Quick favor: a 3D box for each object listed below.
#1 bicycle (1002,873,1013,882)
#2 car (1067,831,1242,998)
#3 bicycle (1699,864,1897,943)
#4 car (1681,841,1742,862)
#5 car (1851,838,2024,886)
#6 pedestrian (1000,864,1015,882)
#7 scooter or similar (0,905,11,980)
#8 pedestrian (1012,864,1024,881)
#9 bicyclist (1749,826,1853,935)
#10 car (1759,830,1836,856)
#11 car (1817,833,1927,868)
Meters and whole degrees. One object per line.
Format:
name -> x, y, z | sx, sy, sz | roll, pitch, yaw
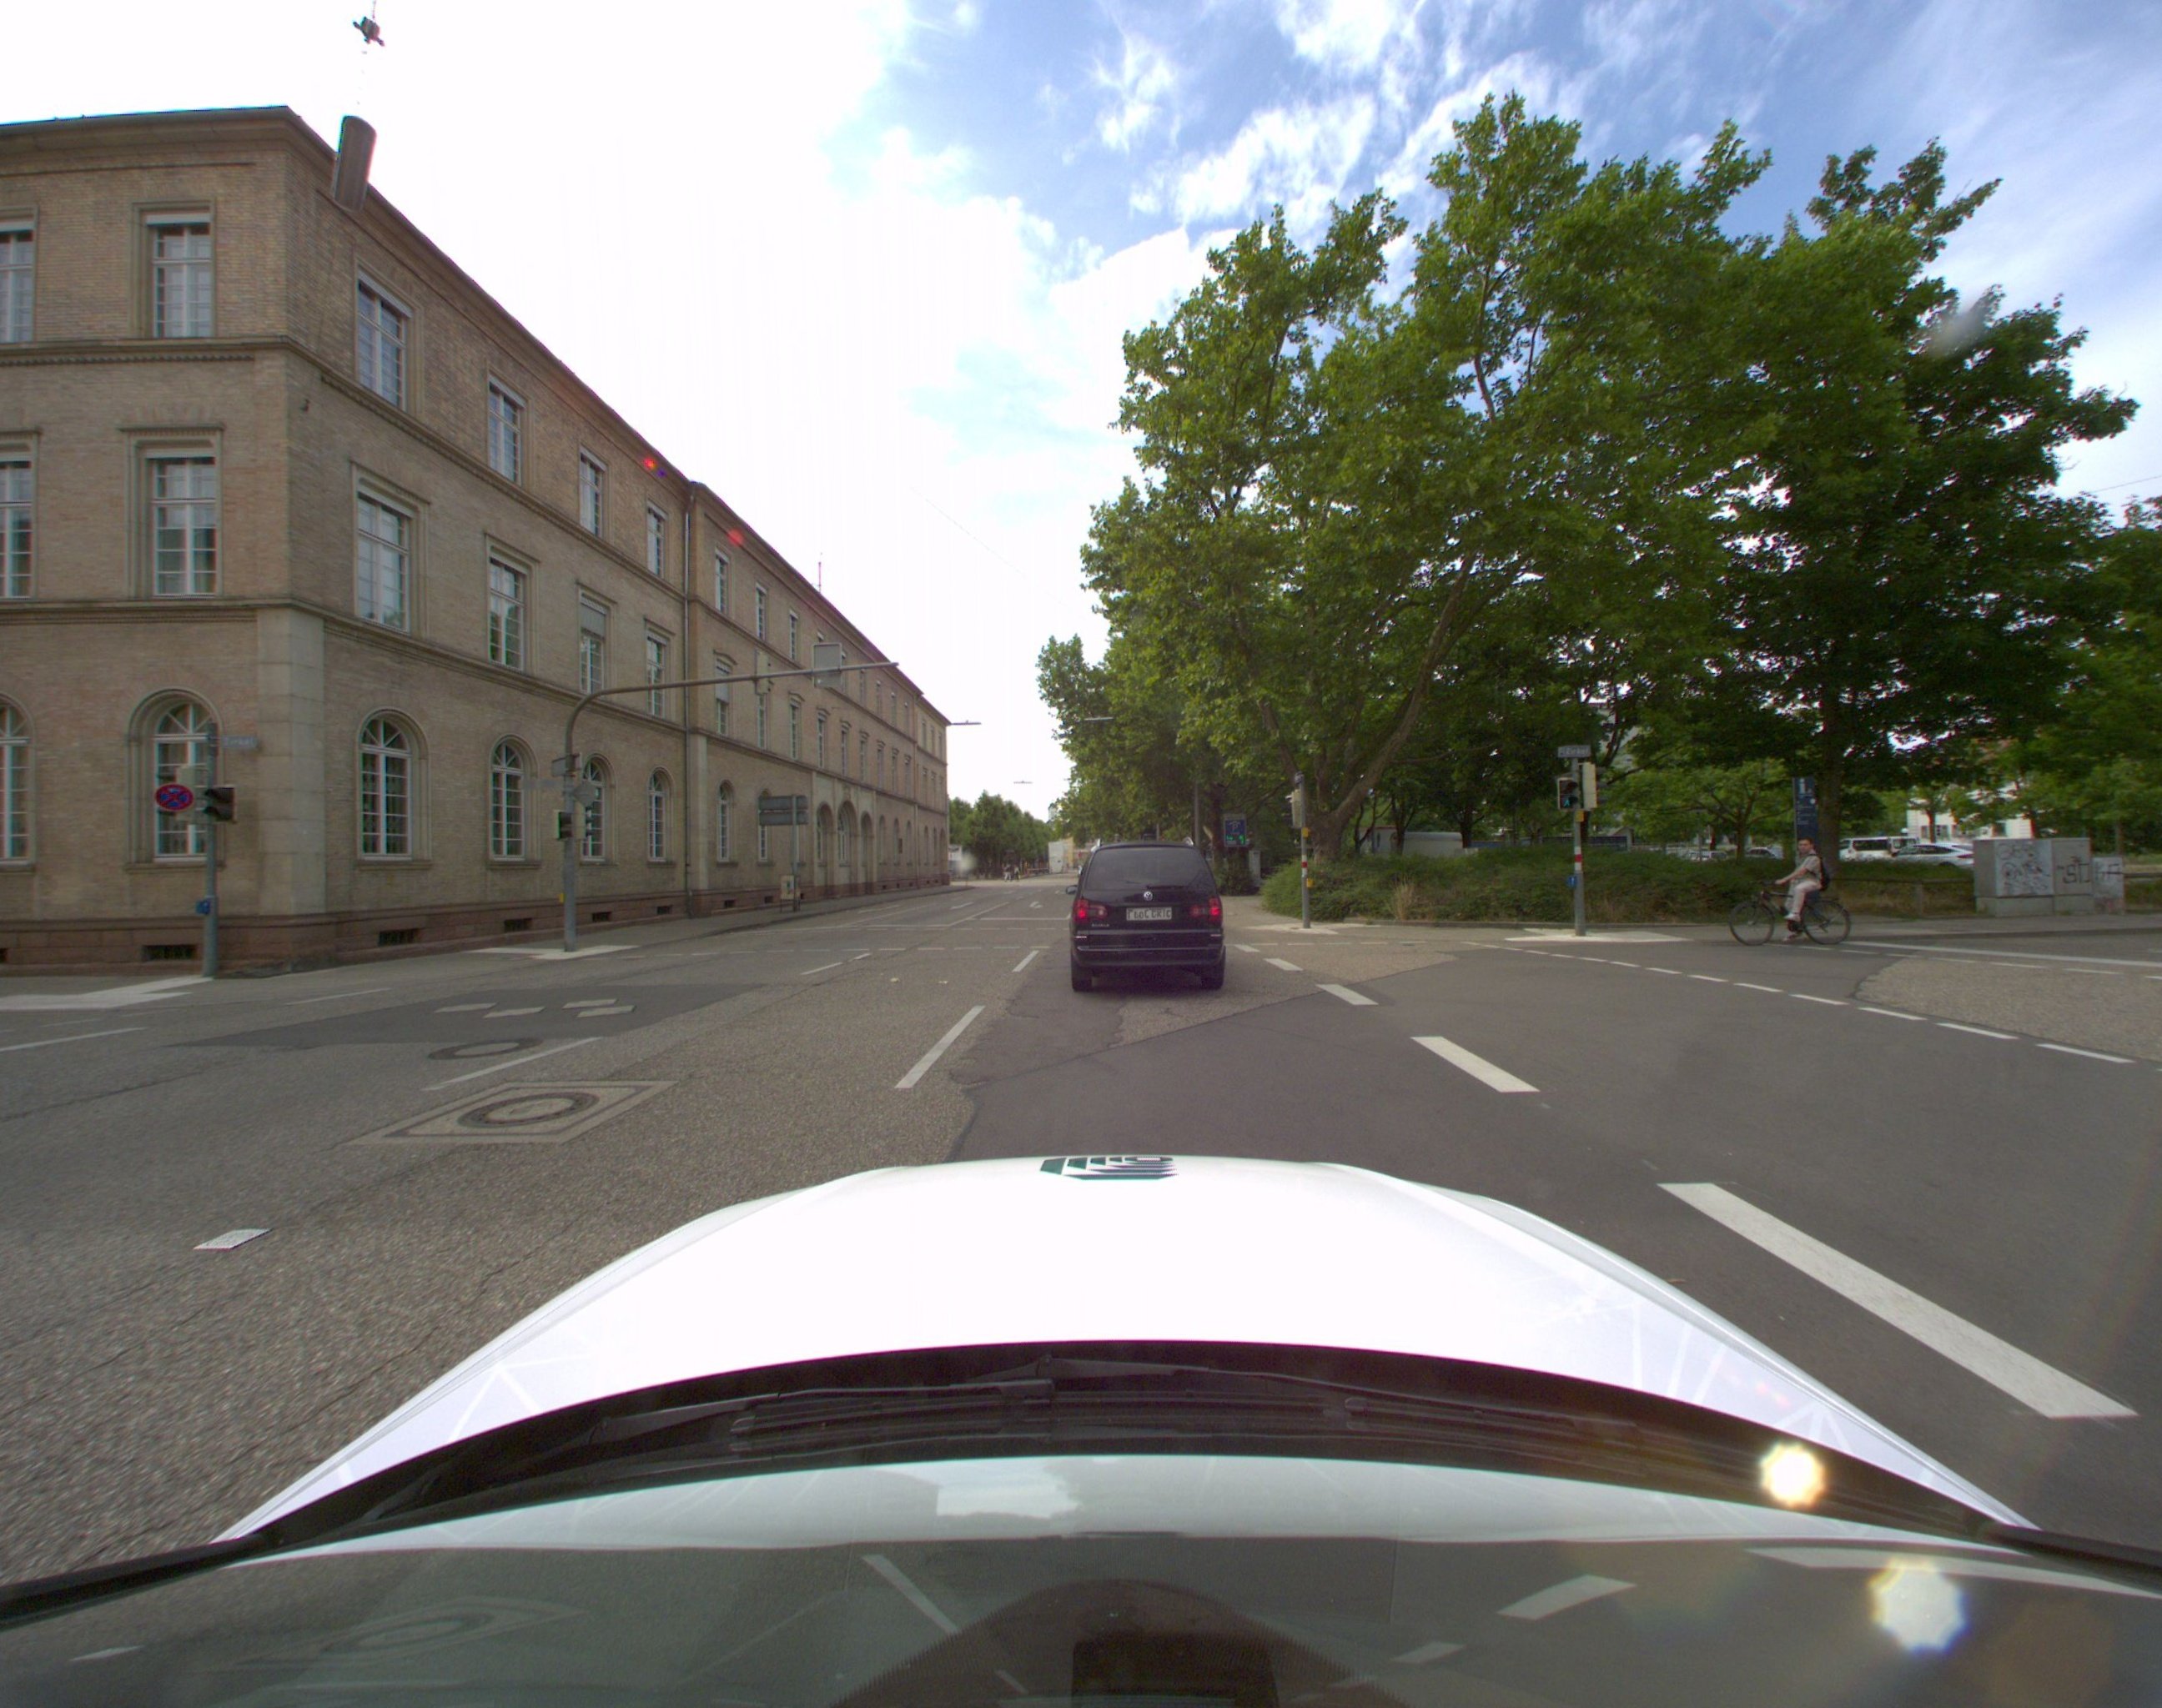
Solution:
bicycle -> -9.191, 2.896, 101.805 | 0.954, 1.110, 2.566 | 1, 0, -16
car -> 0.817, 0.653, 10.605 | 1.787, 1.708, 4.132 | -1, -1, 1
bicycle -> 11.420, 0.782, 13.046 | 2.233, 1.172, 0.917 | -1, -2, 6
car -> 50.745, -0.181, 65.599 | 1.988, 1.580, 3.787 | 0, 0, -1
car -> 34.456, 0.324, 32.991 | 1.988, 1.794, 4.770 | 0, 0, -1
pedestrian -> -7.264, 1.888, 80.542 | 0.952, 1.741, 1.262 | 0, -1, 20
scooter or similar -> -18.088, 1.373, 12.706 | 2.355, 1.165, 0.561 | 0, -1, 7
pedestrian -> -6.240, 1.857, 80.161 | 0.888, 1.641, 0.856 | 0, -1, 20
bicyclist -> 11.503, 0.425, 13.051 | 0.825, 1.678, 0.917 | -1, -2, 6
car -> 57.973, -0.827, 66.022 | 1.988, 2.014, 4.770 | 0, 0, -1
car -> 47.943, -0.192, 49.516 | 1.989, 2.014, 4.768 | 0, 0, -3
